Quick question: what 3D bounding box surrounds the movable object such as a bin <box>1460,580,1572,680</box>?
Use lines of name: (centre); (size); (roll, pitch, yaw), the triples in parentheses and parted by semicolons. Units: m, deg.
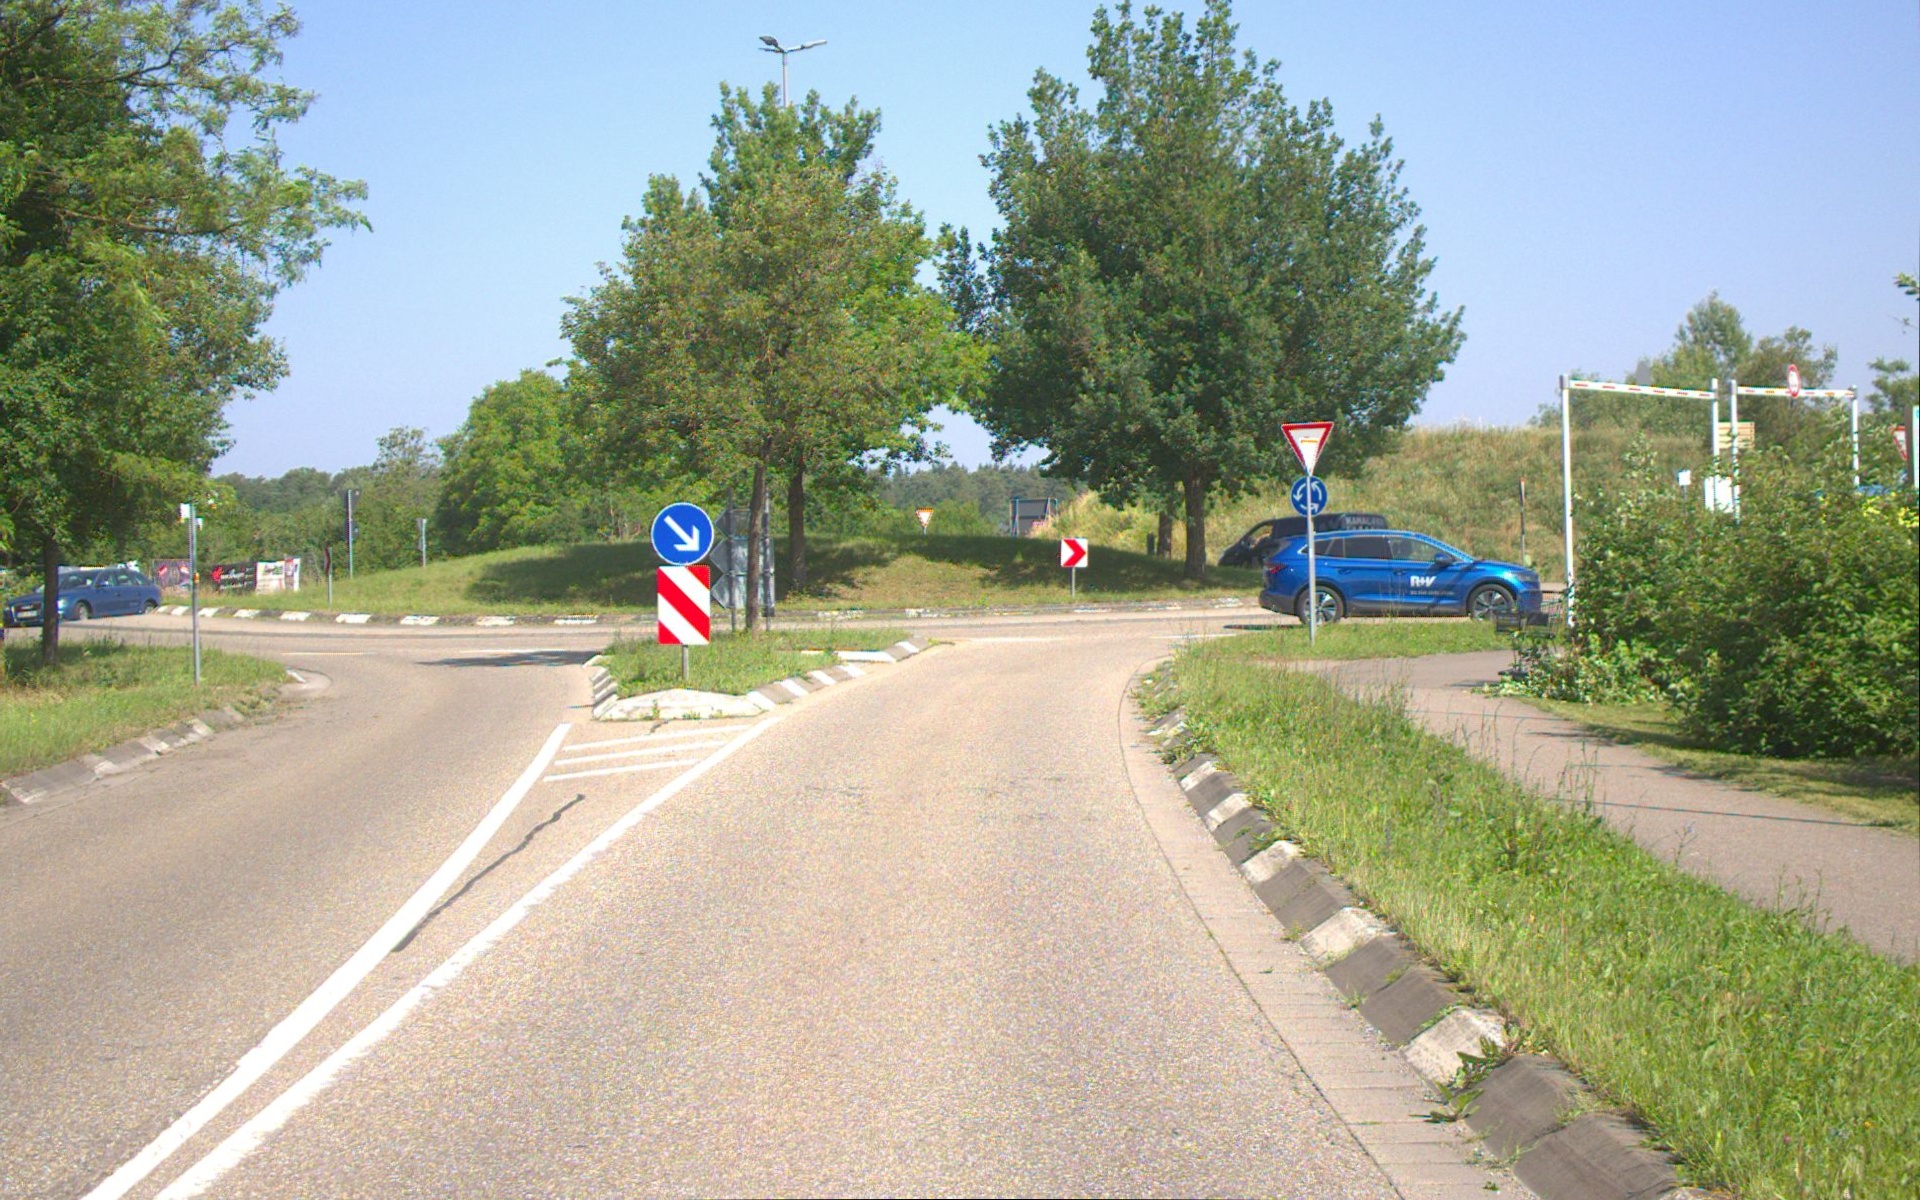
movable object such as a bin: (6.540, 0.341, 40.396); (0.869, 1.116, 1.453); (0, 1, 28)

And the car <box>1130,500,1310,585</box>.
car: (6.452, -1.420, 85.518); (3.995, 2.007, 1.996); (-1, 1, 38)

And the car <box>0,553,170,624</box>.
car: (-19.624, -0.270, 76.649); (1.834, 1.382, 4.420); (-2, 2, 19)

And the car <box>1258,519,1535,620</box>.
car: (7.140, -0.509, 56.316); (4.415, 1.566, 1.716); (-1, 1, 7)
